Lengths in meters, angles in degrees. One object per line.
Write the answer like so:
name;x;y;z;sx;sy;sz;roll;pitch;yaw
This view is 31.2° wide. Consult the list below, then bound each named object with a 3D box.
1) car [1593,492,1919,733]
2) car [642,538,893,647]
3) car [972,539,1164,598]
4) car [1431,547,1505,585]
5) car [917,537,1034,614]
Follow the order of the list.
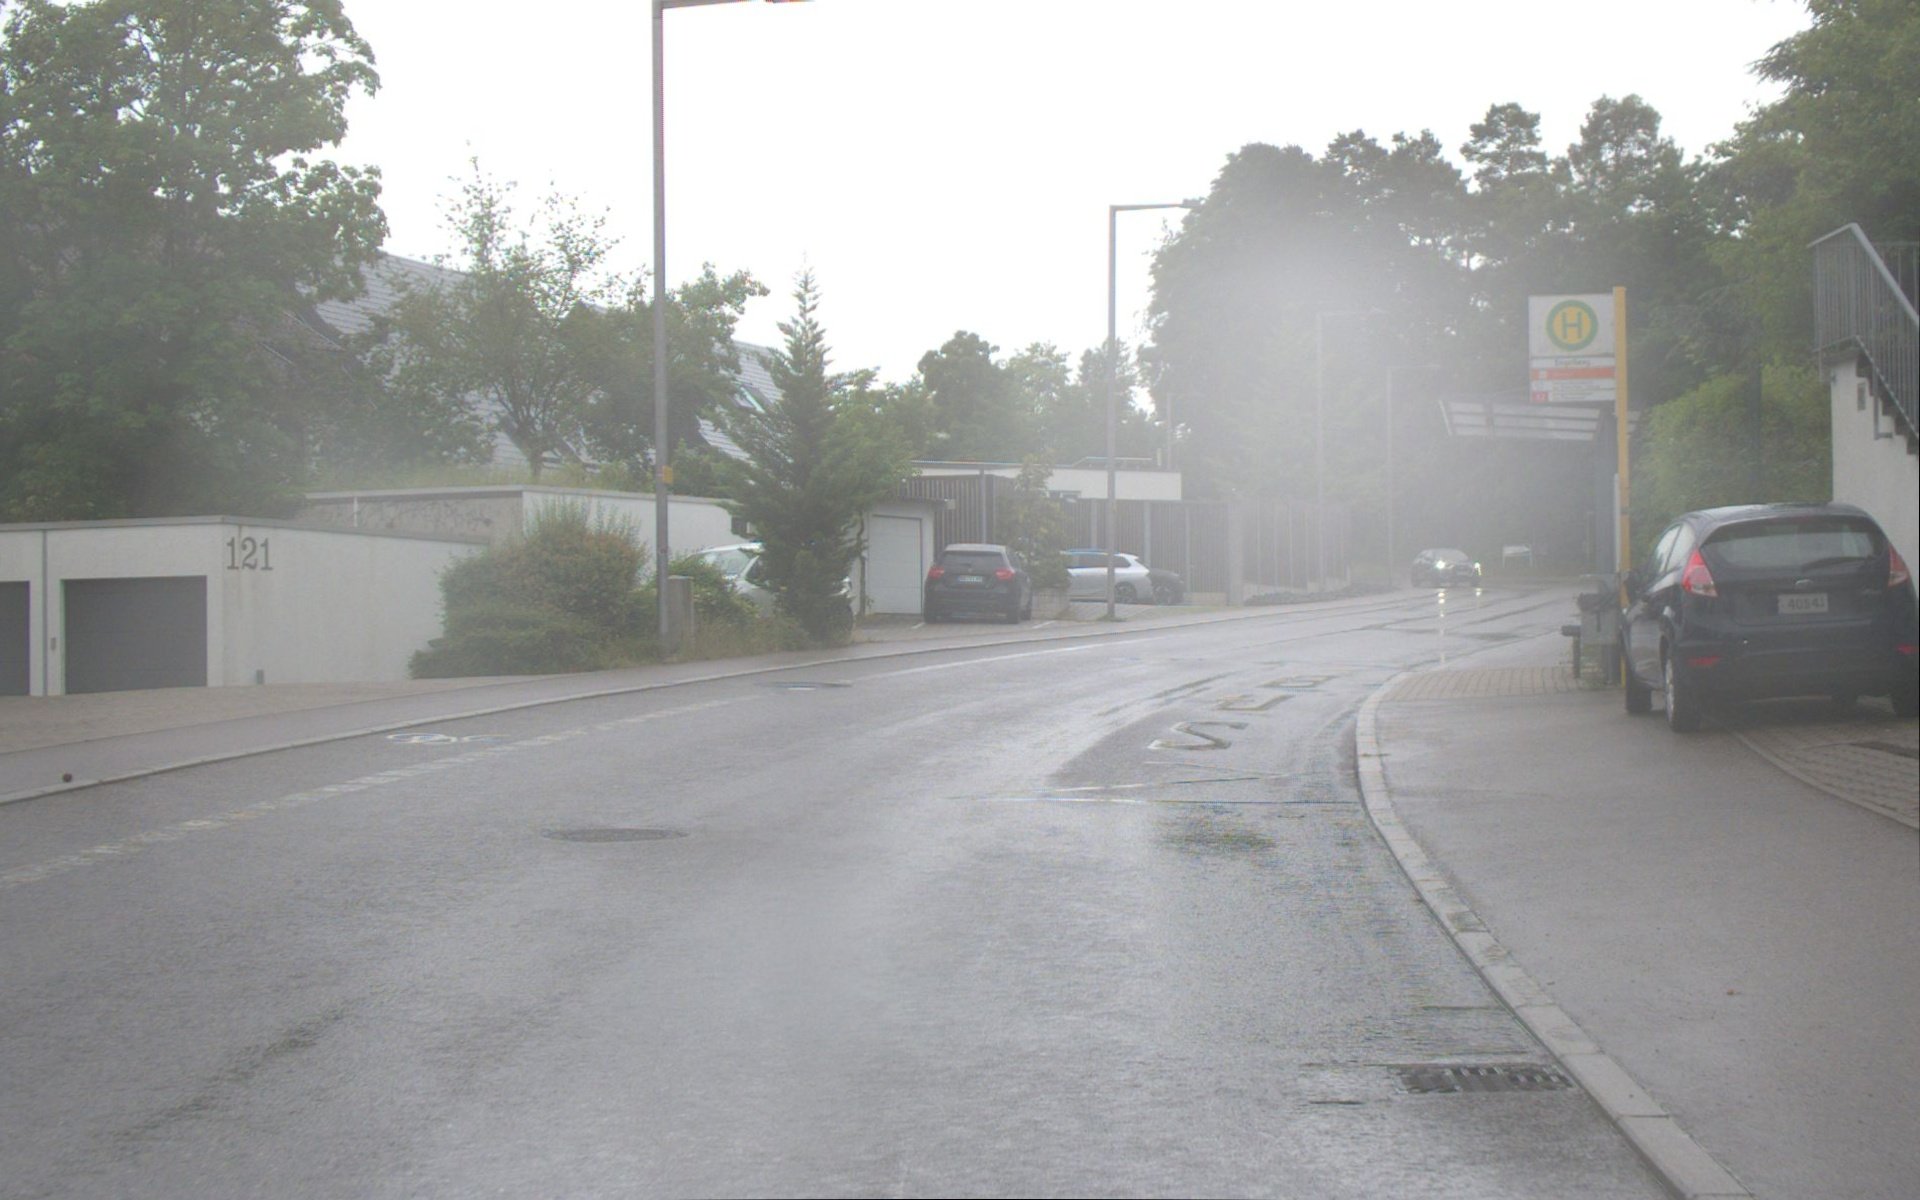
car;5.457;0.052;23.900;1.705;1.449;4.020;-3;1;6
car;-2.834;-0.144;51.557;1.707;1.548;4.382;0;1;29
car;2.731;-0.791;87.039;4.517;1.437;1.761;1;1;-24
car;19.639;-1.331;133.092;1.850;1.464;3.700;0;1;-8
car;0.329;-0.486;65.070;1.834;1.401;4.259;0;1;5
